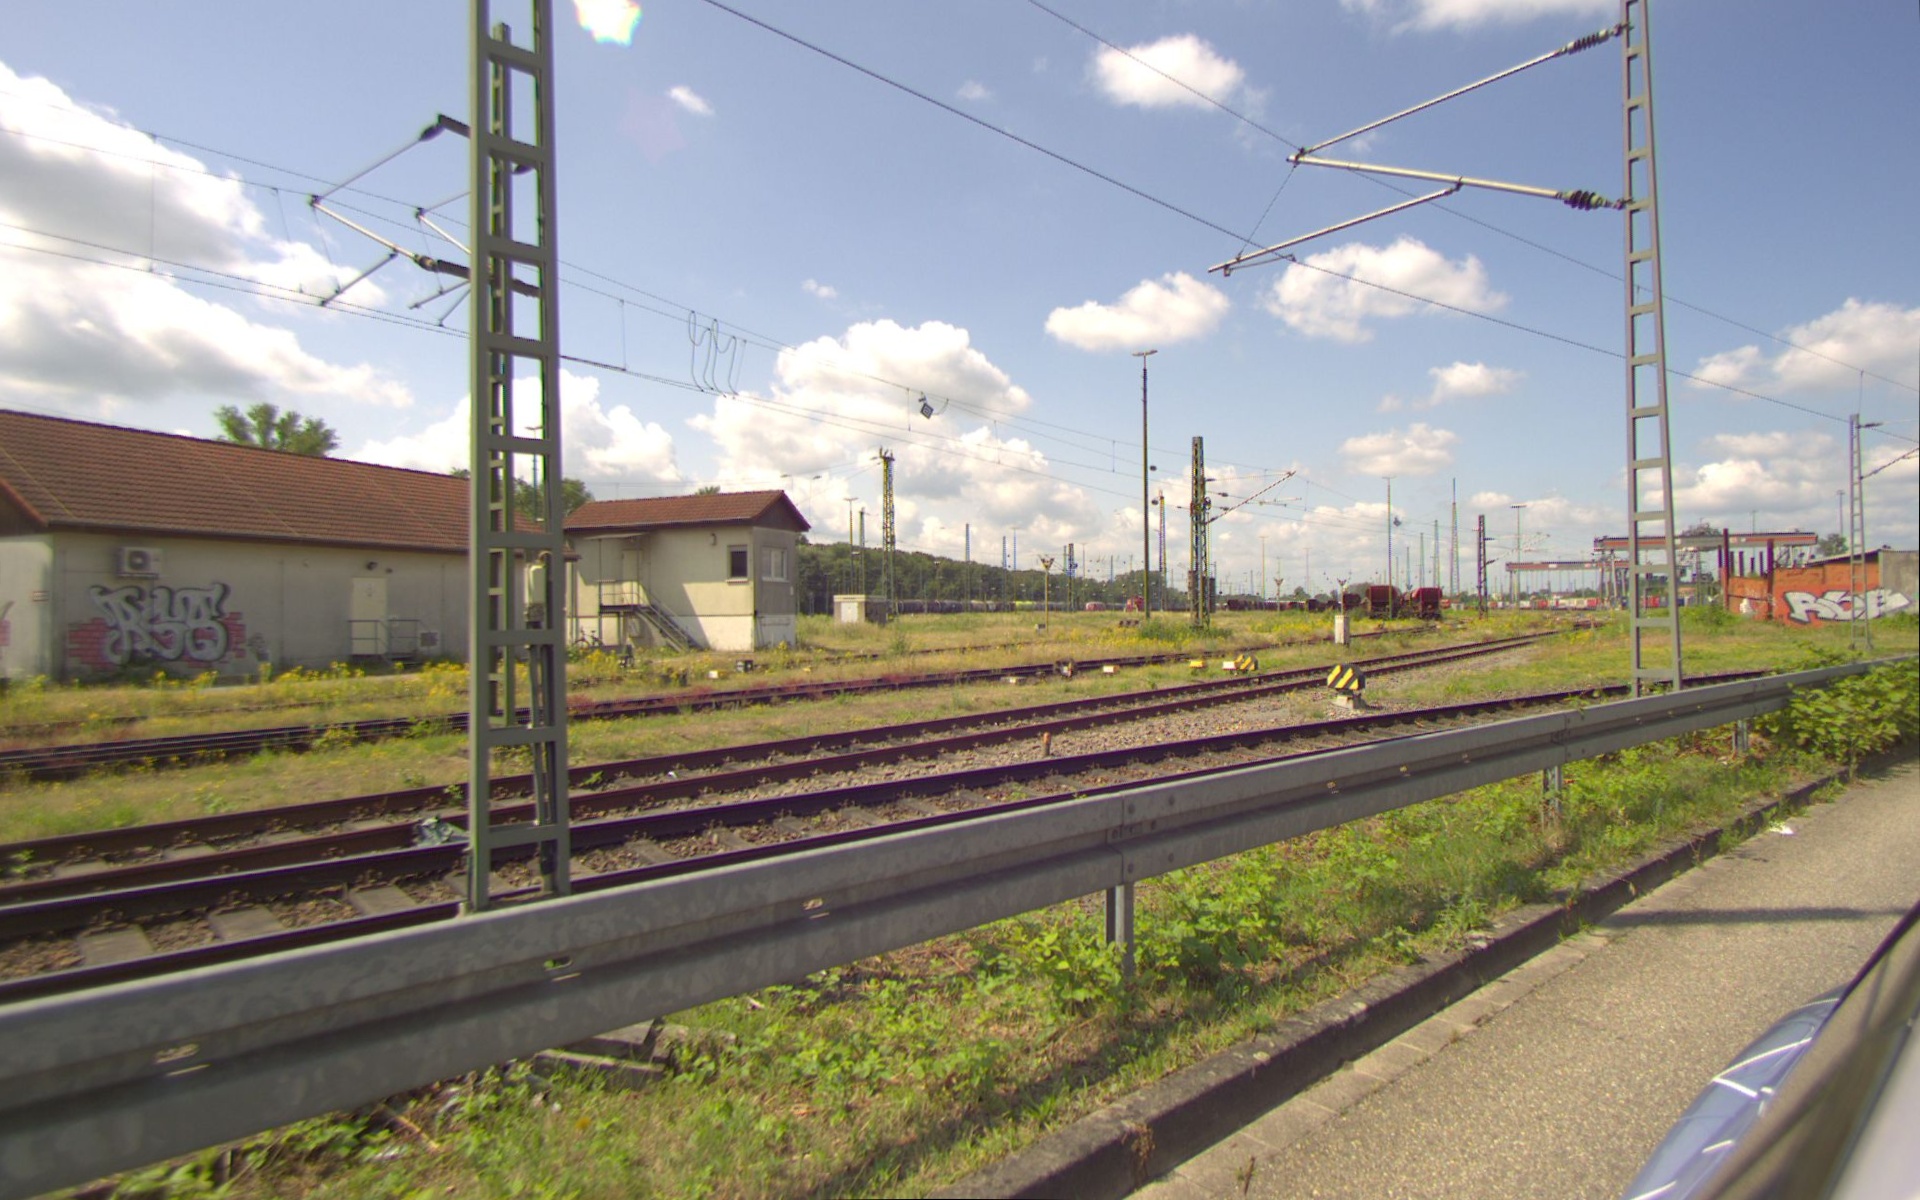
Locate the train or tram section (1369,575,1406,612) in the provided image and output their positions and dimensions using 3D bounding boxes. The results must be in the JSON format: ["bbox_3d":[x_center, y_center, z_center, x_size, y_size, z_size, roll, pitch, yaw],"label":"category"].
[{"bbox_3d":[46.615,-0.663,110.204,3.267,3.764,12.443,-1,-1,25],"label":"train or tram section"}]

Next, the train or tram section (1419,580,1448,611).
[{"bbox_3d":[60.292,-0.491,128.924,3.172,3.764,12.443,-1,-1,25],"label":"train or tram section"}]

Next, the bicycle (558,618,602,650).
[{"bbox_3d":[-14.624,1.318,38.964,1.854,1.219,0.409,-1,-1,25],"label":"bicycle"}]
